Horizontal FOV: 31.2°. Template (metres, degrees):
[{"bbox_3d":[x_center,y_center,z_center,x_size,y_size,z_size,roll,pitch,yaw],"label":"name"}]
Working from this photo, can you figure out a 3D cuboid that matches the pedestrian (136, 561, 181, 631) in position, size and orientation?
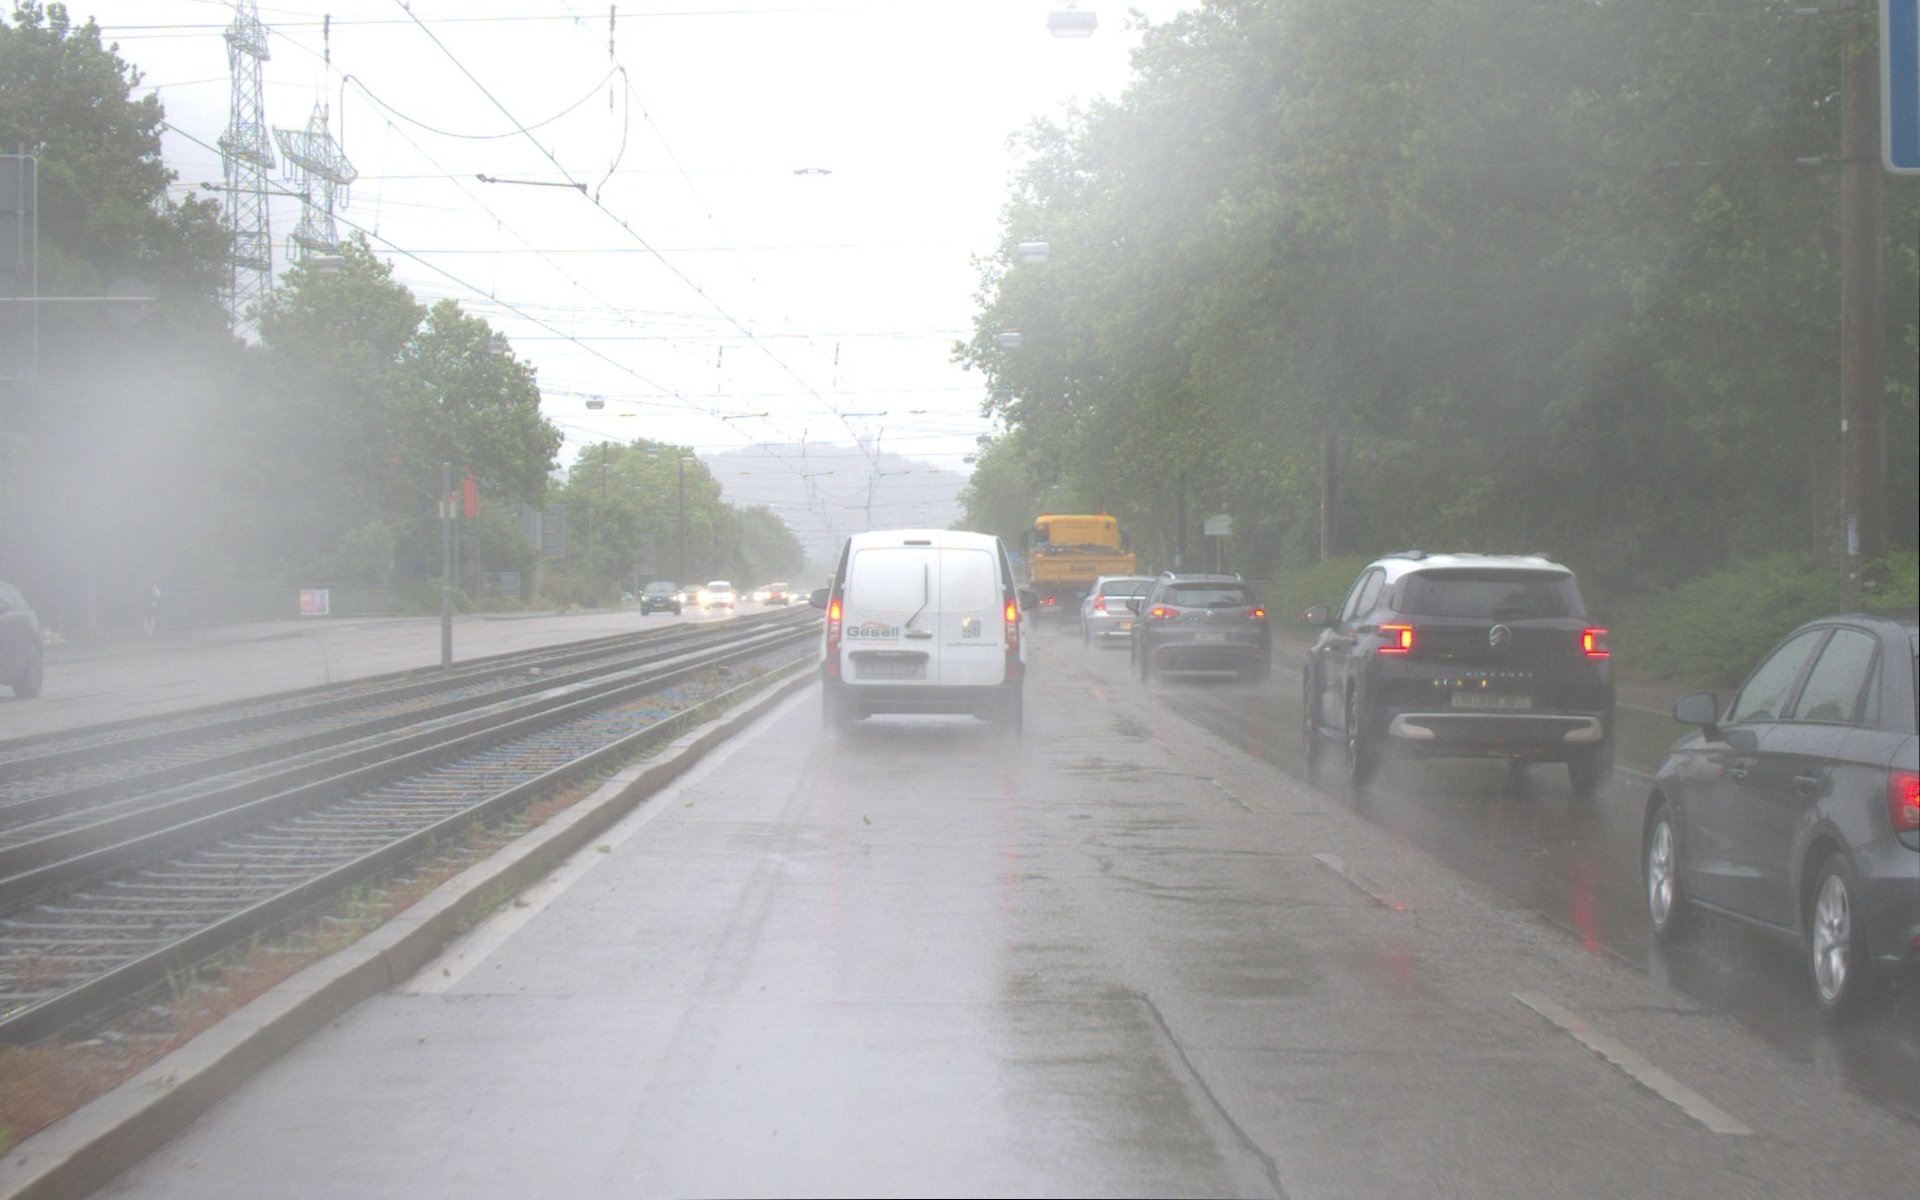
[{"bbox_3d":[-20.214,-0.107,86.701,0.851,1.753,1.121,-1,0,0],"label":"pedestrian"}]

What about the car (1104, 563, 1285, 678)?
[{"bbox_3d":[3.105,0.249,46.245,1.818,1.409,3.779,1,1,-5],"label":"car"}]

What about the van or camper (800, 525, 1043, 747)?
[{"bbox_3d":[-0.408,0.258,30.892,1.993,1.778,4.001,2,2,-3],"label":"van or camper"}]

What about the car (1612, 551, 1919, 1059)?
[{"bbox_3d":[3.802,0.617,12.522,1.967,1.523,3.991,1,1,-2],"label":"car"}]

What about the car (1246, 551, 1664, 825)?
[{"bbox_3d":[3.426,0.545,24.760,1.899,1.711,4.726,1,1,-5],"label":"car"}]

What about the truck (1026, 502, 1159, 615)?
[{"bbox_3d":[3.326,-1.060,88.066,3.113,2.764,6.329,1,1,0],"label":"truck"}]

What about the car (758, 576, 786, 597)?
[{"bbox_3d":[-13.547,-0.965,247.907,1.657,1.481,4.013,0,0,1],"label":"car"}]

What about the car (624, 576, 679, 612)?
[{"bbox_3d":[-14.123,-0.279,157.672,1.993,1.612,4.253,0,1,2],"label":"car"}]

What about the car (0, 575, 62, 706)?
[{"bbox_3d":[-13.702,0.558,46.108,1.993,1.715,4.882,-1,1,0],"label":"car"}]

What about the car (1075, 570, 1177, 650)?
[{"bbox_3d":[3.183,0.168,66.543,1.818,1.409,3.778,1,1,1],"label":"car"}]
